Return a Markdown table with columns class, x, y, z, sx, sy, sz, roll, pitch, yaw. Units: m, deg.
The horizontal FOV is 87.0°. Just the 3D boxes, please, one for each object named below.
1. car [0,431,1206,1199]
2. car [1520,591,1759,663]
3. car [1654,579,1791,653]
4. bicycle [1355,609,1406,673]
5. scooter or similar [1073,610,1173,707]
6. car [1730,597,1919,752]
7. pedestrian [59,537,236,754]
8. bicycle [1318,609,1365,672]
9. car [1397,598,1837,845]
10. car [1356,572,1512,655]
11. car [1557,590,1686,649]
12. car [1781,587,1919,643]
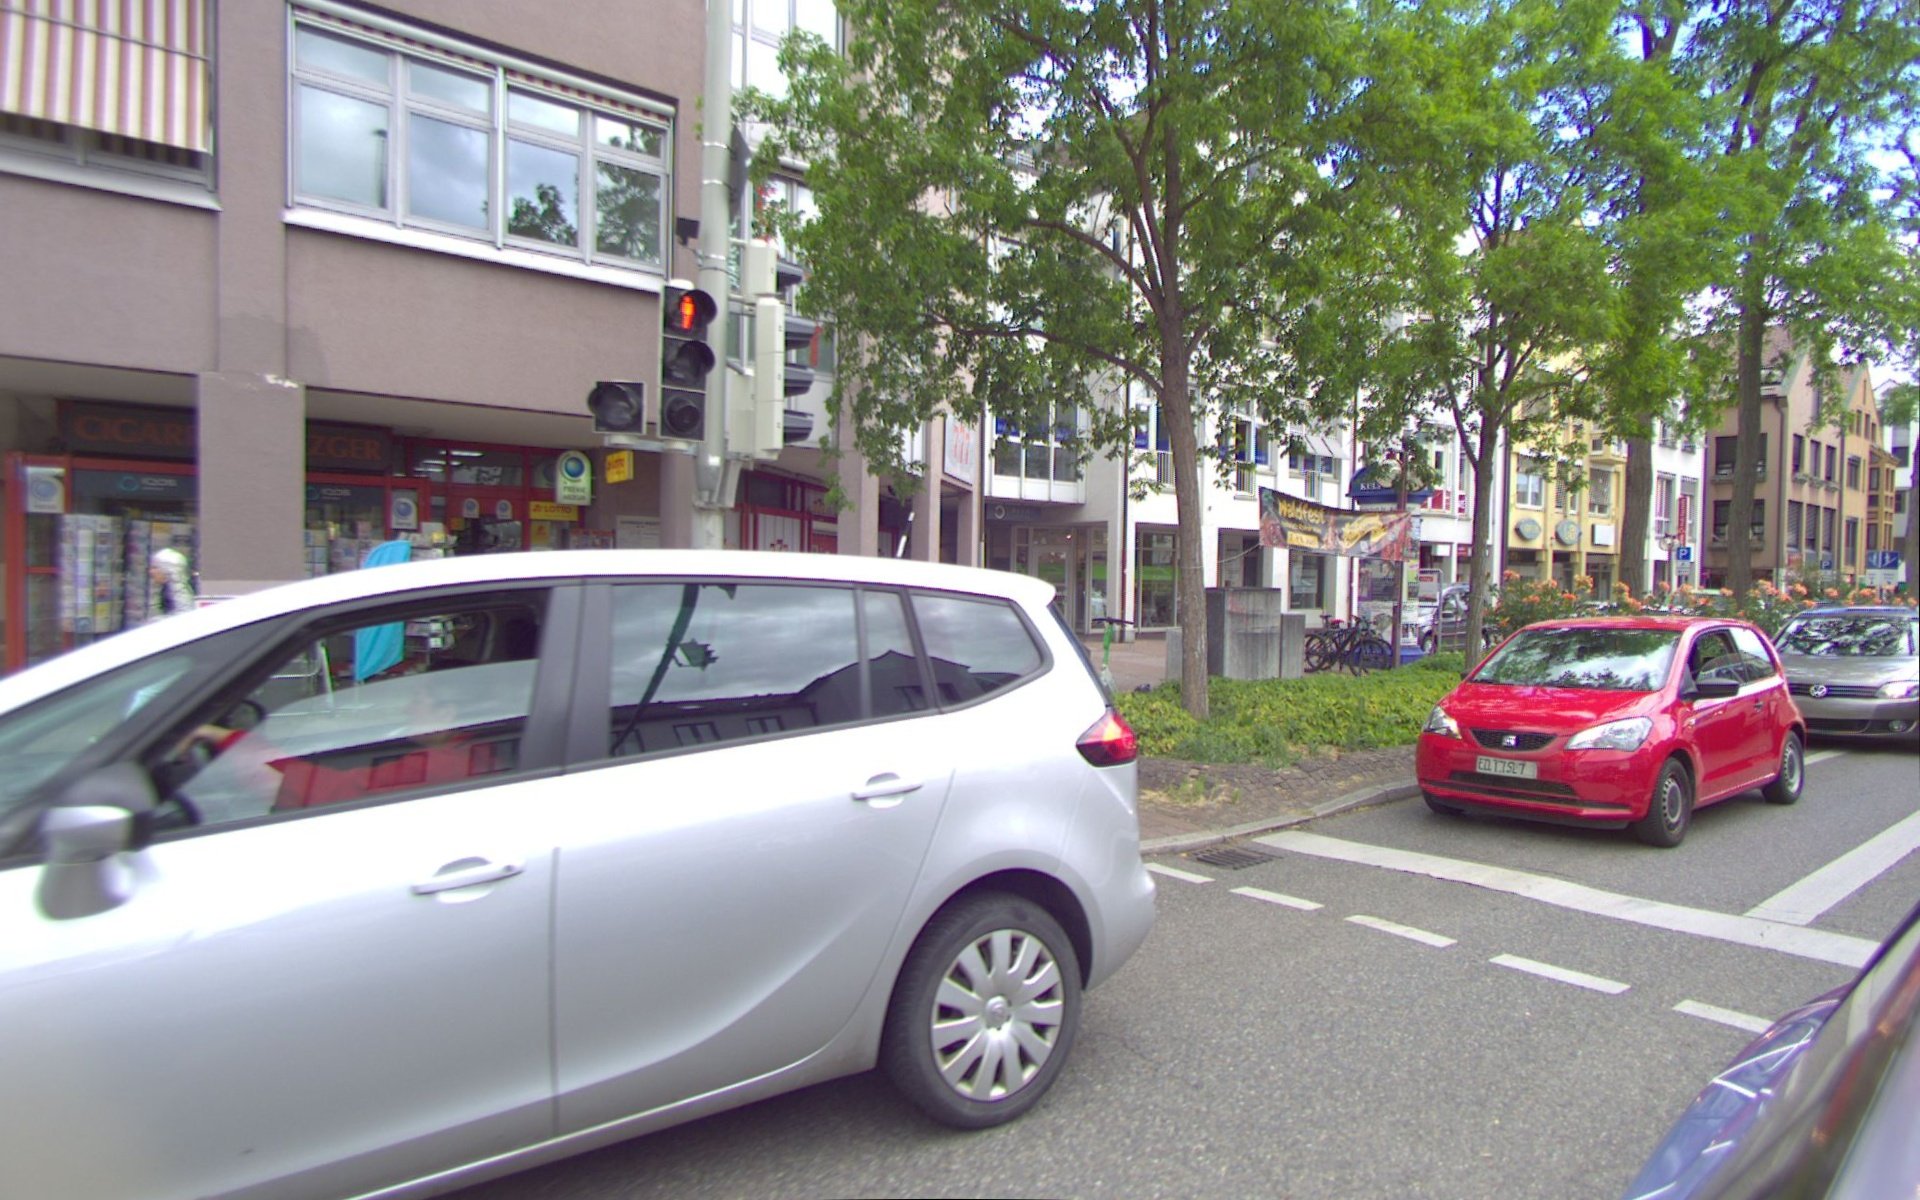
| class | x | y | z | sx | sy | sz | roll | pitch | yaw |
| --- | --- | --- | --- | --- | --- | --- | --- | --- | --- |
| car | -1.485 | 0.574 | 2.894 | 4.294 | 1.722 | 1.746 | 0 | -1 | -32 |
| car | 16.926 | 0.597 | 25.446 | 1.707 | 1.471 | 4.653 | 0 | 2 | -36 |
| car | 21.825 | 0.392 | 28.910 | 4.668 | 1.899 | 1.999 | -1 | 3 | -39 |
| bicycle | 7.608 | 0.713 | 18.360 | 0.399 | 1.061 | 1.567 | 1 | 1 | 5 |
| scooter or similar | 2.119 | 0.706 | 12.975 | 0.468 | 1.101 | 1.863 | 2 | 2 | 36 |
| car | 10.765 | 0.759 | 11.896 | 3.927 | 1.549 | 1.801 | 0 | -1 | -38 |
| pedestrian | -6.646 | 0.332 | 8.320 | 1.073 | 1.646 | 0.810 | 1 | 1 | -39 |
| bicycle | 7.056 | 0.730 | 18.764 | 0.399 | 1.061 | 1.567 | 1 | 1 | 5 |
| car | 5.108 | 0.732 | 7.746 | 3.573 | 1.467 | 1.631 | 0 | -1 | -36 |
| car | 11.583 | 0.277 | 24.635 | 4.184 | 1.826 | 1.739 | 0 | 2 | -39 |
| car | 20.336 | 0.531 | 31.029 | 4.669 | 1.566 | 1.998 | -1 | 3 | -40 |
| car | 31.284 | 0.519 | 34.612 | 1.967 | 1.700 | 4.743 | 1 | 2 | -44 |
